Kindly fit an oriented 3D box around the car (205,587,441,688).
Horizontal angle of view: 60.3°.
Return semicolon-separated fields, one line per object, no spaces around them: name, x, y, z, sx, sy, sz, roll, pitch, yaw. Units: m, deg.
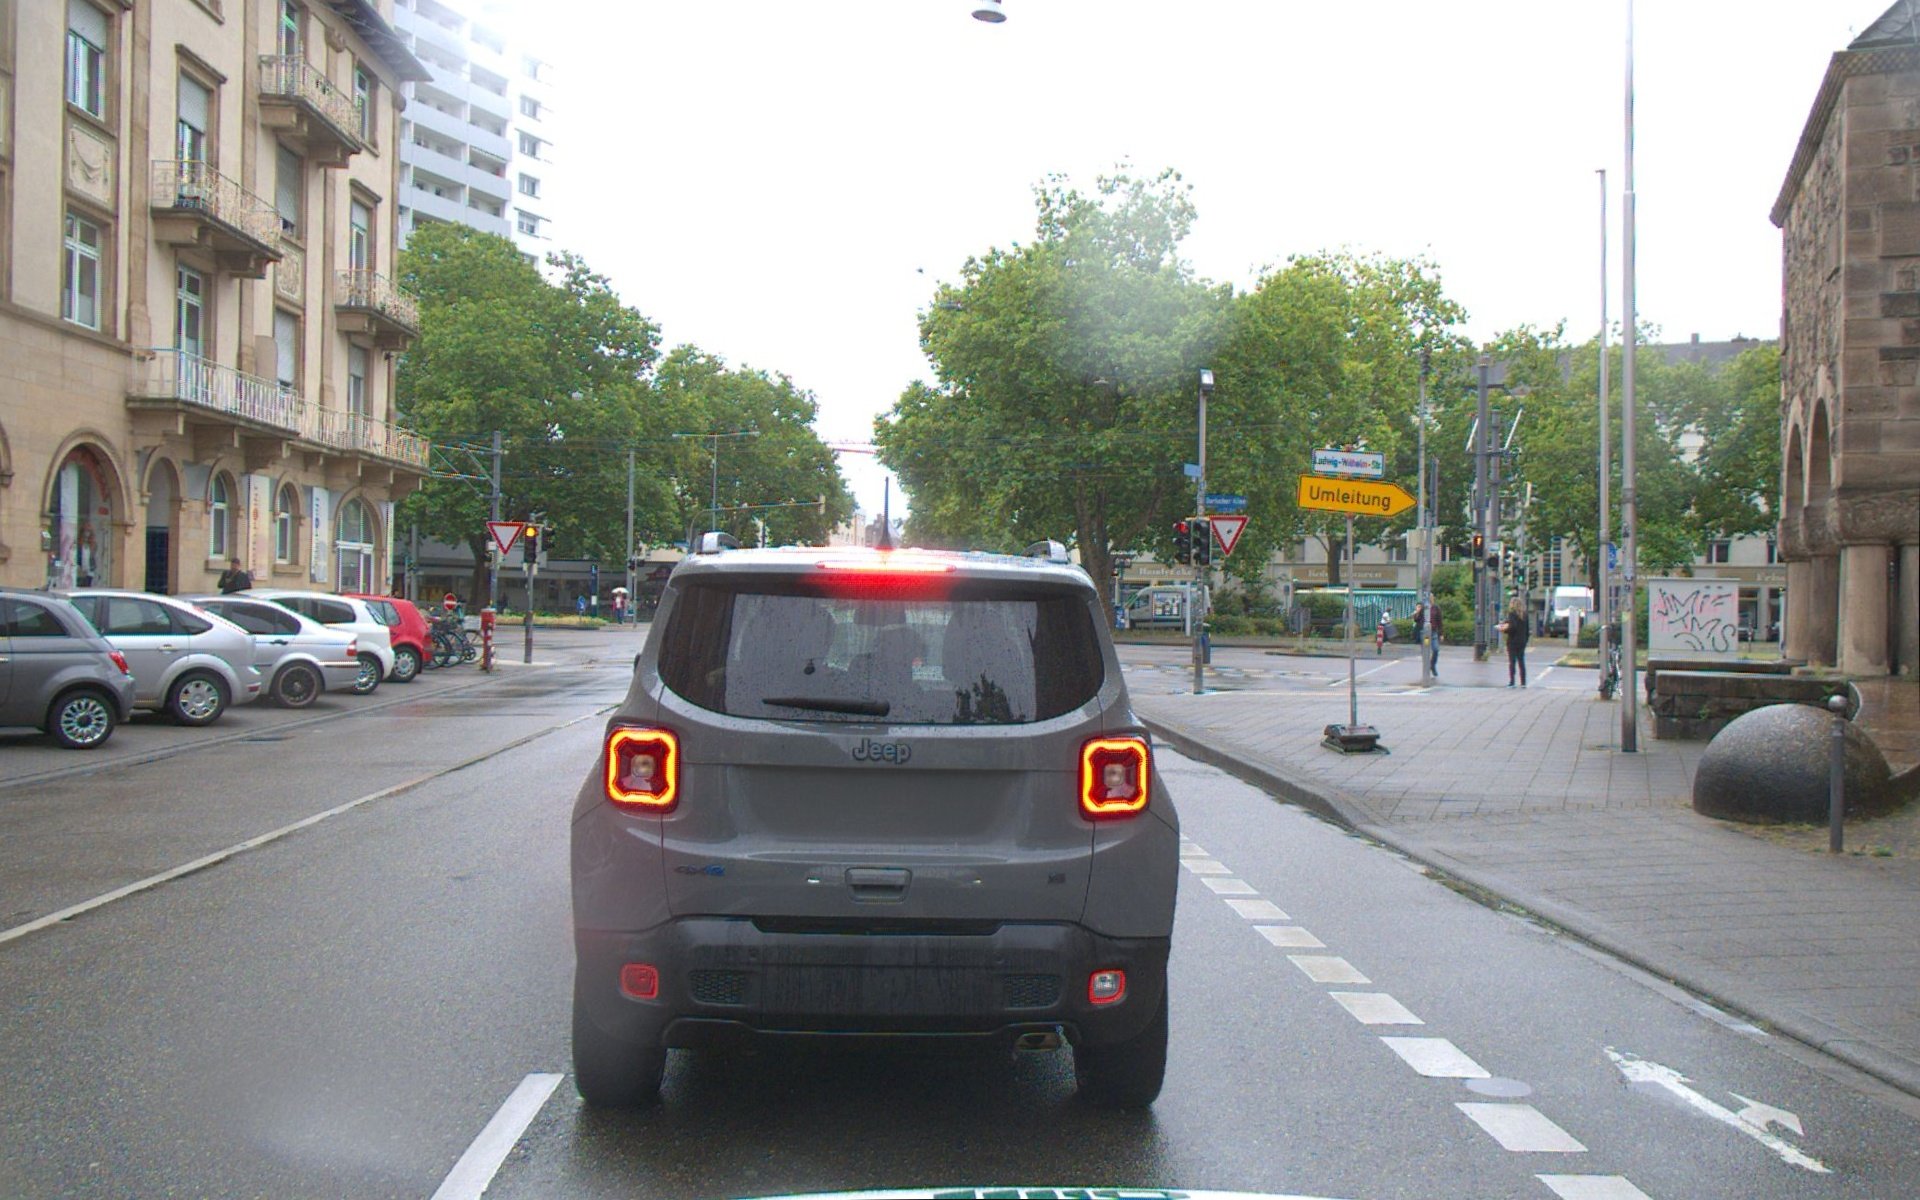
car;-10.740;0.601;27.963;3.372;1.585;1.681;1;0;-41

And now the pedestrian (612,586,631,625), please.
pedestrian;-16.253;0.267;79.444;0.605;1.858;0.694;0;0;19

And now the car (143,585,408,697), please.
car;-10.353;0.583;25.101;3.372;1.585;1.681;1;0;-41

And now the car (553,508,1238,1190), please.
car;-0.222;0.622;6.146;1.739;1.716;3.846;0;0;-2

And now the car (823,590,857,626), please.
car;-6.152;0.391;84.321;1.688;1.769;3.726;1;0;-5

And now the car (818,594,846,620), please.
car;-8.494;0.434;109.825;1.779;1.700;3.916;1;0;-5

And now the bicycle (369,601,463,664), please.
bicycle;-11.181;0.663;34.046;1.728;1.288;0.608;0;0;-3

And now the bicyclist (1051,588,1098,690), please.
bicyclist;1.876;0.625;27.199;0.673;1.646;0.883;0;0;-2

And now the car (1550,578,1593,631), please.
car;31.219;0.235;84.336;1.868;2.600;4.786;0;0;22

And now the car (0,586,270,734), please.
car;-9.956;0.642;19.067;3.372;1.585;1.681;1;0;-41

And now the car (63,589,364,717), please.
car;-10.000;0.661;22.250;3.372;1.585;1.681;1;0;-41

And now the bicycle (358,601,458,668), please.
bicycle;-10.777;0.676;32.341;1.774;1.288;0.498;0;0;-3

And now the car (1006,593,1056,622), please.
car;5.121;0.538;119.508;3.363;2.049;1.549;0;-1;12

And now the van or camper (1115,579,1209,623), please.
van or camper;11.560;0.056;94.980;5.149;2.356;2.090;1;0;3

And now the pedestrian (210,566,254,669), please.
pedestrian;-14.528;0.346;33.018;0.556;2.049;0.654;1;0;-1

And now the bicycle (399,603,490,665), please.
bicycle;-10.870;0.710;34.930;1.728;1.288;0.608;0;0;-3

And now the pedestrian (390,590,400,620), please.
pedestrian;-29.404;0.237;86.066;0.435;1.556;0.640;1;0;-18

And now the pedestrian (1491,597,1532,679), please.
pedestrian;11.418;0.774;34.232;0.767;1.674;0.655;0;0;23

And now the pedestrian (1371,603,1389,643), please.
pedestrian;16.954;0.928;66.764;0.600;1.631;0.494;0;0;23

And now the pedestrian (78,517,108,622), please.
pedestrian;-15.345;-0.541;29.282;0.359;1.854;0.347;0;-1;-4

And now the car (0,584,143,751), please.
car;-9.960;0.628;16.038;3.372;1.585;1.629;1;0;-41

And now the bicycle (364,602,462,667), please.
bicycle;-10.918;0.683;33.021;1.774;1.288;0.498;0;0;-3

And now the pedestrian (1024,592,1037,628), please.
pedestrian;3.940;0.563;92.663;0.637;2.049;0.483;1;0;11

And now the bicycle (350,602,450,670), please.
bicycle;-10.749;0.685;31.794;1.728;1.288;0.522;0;0;-3

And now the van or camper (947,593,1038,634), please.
van or camper;2.446;0.996;124.780;6.395;2.963;2.493;0;0;24

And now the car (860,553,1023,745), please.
car;-0.245;0.524;19.805;1.734;2.049;3.999;1;0;-1

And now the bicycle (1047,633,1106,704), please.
bicycle;1.891;1.088;27.096;0.678;1.039;2.657;0;0;-2

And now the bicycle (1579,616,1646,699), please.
bicycle;9.810;0.841;24.923;0.322;1.174;2.076;0;0;4

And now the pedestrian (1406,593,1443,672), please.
pedestrian;10.600;0.733;37.735;0.769;1.790;0.946;0;0;14

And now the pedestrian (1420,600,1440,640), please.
pedestrian;19.107;0.818;67.212;0.660;1.581;0.761;0;-2;27
